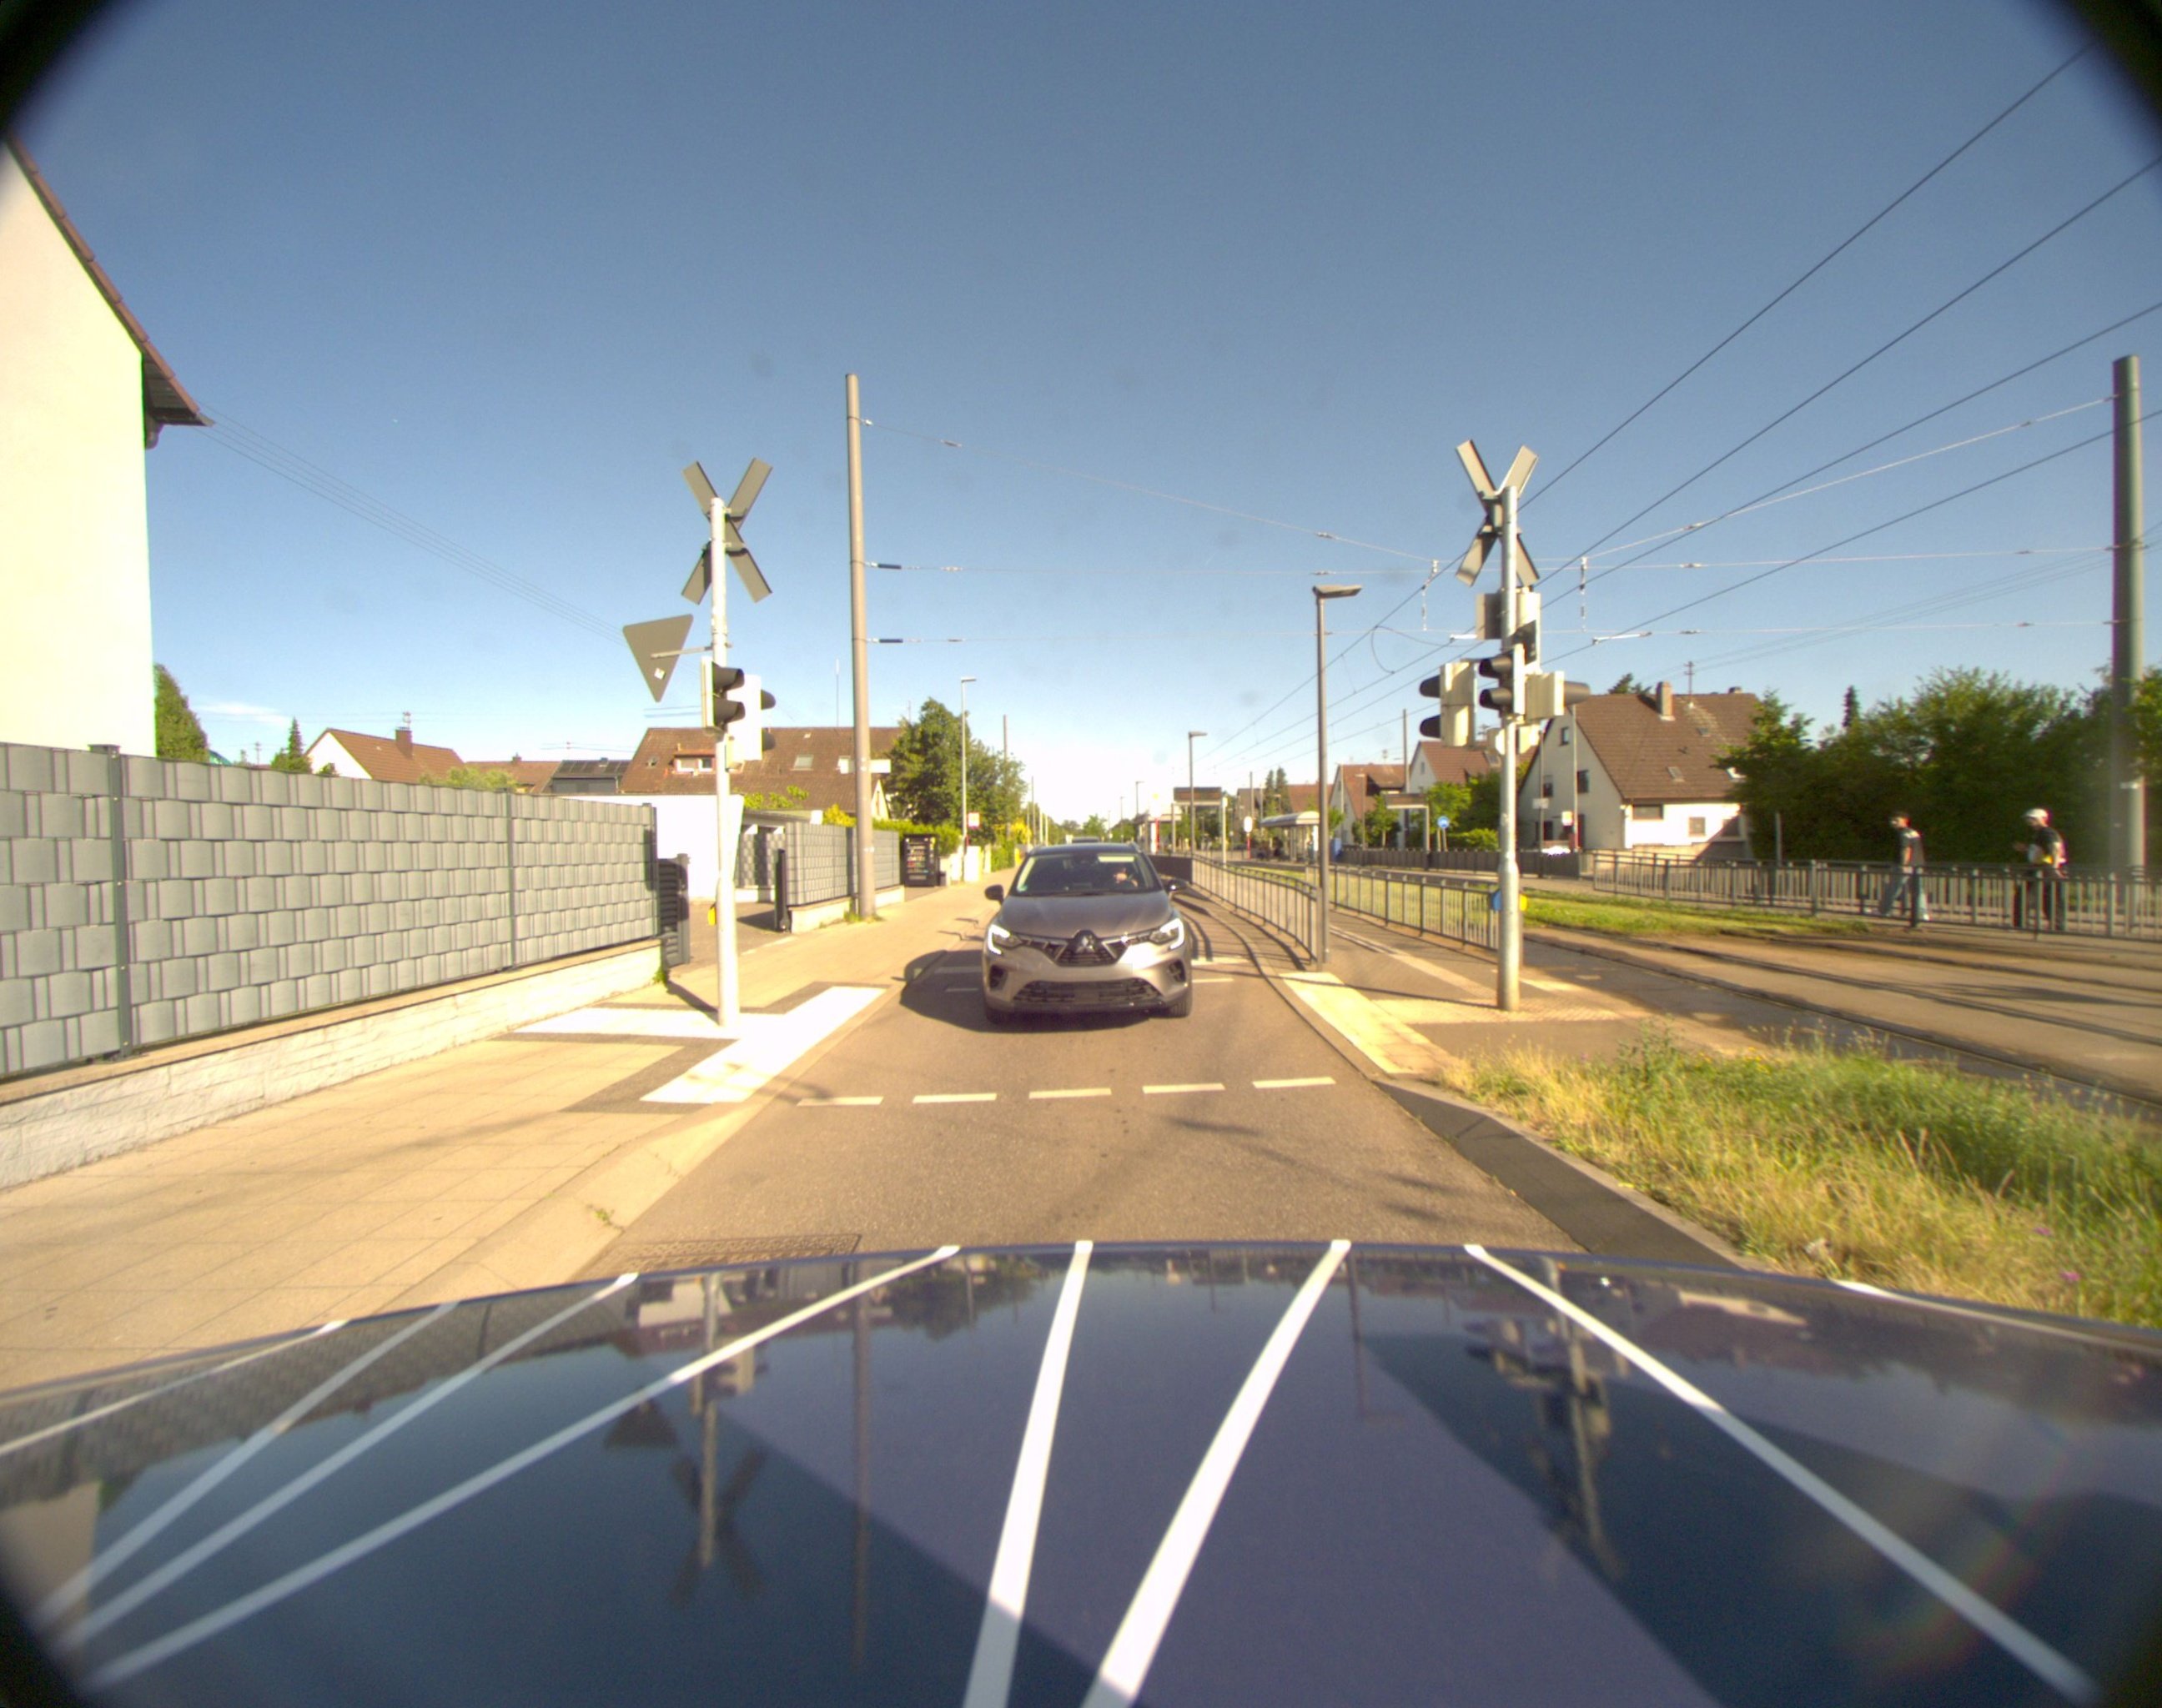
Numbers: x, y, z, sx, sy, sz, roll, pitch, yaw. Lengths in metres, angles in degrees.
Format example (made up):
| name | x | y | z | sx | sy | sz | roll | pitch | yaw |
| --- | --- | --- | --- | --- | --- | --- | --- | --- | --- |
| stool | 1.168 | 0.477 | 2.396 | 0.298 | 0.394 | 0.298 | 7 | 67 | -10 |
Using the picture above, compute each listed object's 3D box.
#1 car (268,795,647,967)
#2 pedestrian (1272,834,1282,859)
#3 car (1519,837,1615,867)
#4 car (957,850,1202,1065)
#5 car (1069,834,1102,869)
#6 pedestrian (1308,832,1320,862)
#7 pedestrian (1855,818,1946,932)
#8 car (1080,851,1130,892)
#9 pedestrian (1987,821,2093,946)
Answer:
| name | x | y | z | sx | sy | sz | roll | pitch | yaw |
| --- | --- | --- | --- | --- | --- | --- | --- | --- | --- |
| car | -9.927 | 0.374 | 12.234 | 4.983 | 2.418 | 2.001 | -1 | 3 | 14 |
| pedestrian | 13.393 | -0.517 | 51.830 | 0.534 | 1.742 | 0.543 | -1 | 1 | 0 |
| car | 26.390 | -0.103 | 41.334 | 3.989 | 1.526 | 1.999 | -1 | 1 | -3 |
| car | -0.058 | 0.786 | 7.853 | 1.830 | 1.570 | 3.999 | -2 | 1 | -2 |
| car | 0.332 | -0.181 | 52.699 | 2.089 | 2.226 | 4.721 | -2 | 1 | 1 |
| pedestrian | 13.658 | -0.407 | 44.507 | 0.622 | 1.742 | 0.442 | 0 | 1 | 20 |
| pedestrian | 13.407 | 0.317 | 12.445 | 0.690 | 1.761 | 0.823 | -4 | 4 | -25 |
| car | 0.890 | 0.605 | 28.742 | 1.687 | 1.379 | 4.000 | -2 | 1 | 1 |
| pedestrian | 13.408 | 0.380 | 10.637 | 0.797 | 1.652 | 0.726 | -4 | 4 | -25 |
